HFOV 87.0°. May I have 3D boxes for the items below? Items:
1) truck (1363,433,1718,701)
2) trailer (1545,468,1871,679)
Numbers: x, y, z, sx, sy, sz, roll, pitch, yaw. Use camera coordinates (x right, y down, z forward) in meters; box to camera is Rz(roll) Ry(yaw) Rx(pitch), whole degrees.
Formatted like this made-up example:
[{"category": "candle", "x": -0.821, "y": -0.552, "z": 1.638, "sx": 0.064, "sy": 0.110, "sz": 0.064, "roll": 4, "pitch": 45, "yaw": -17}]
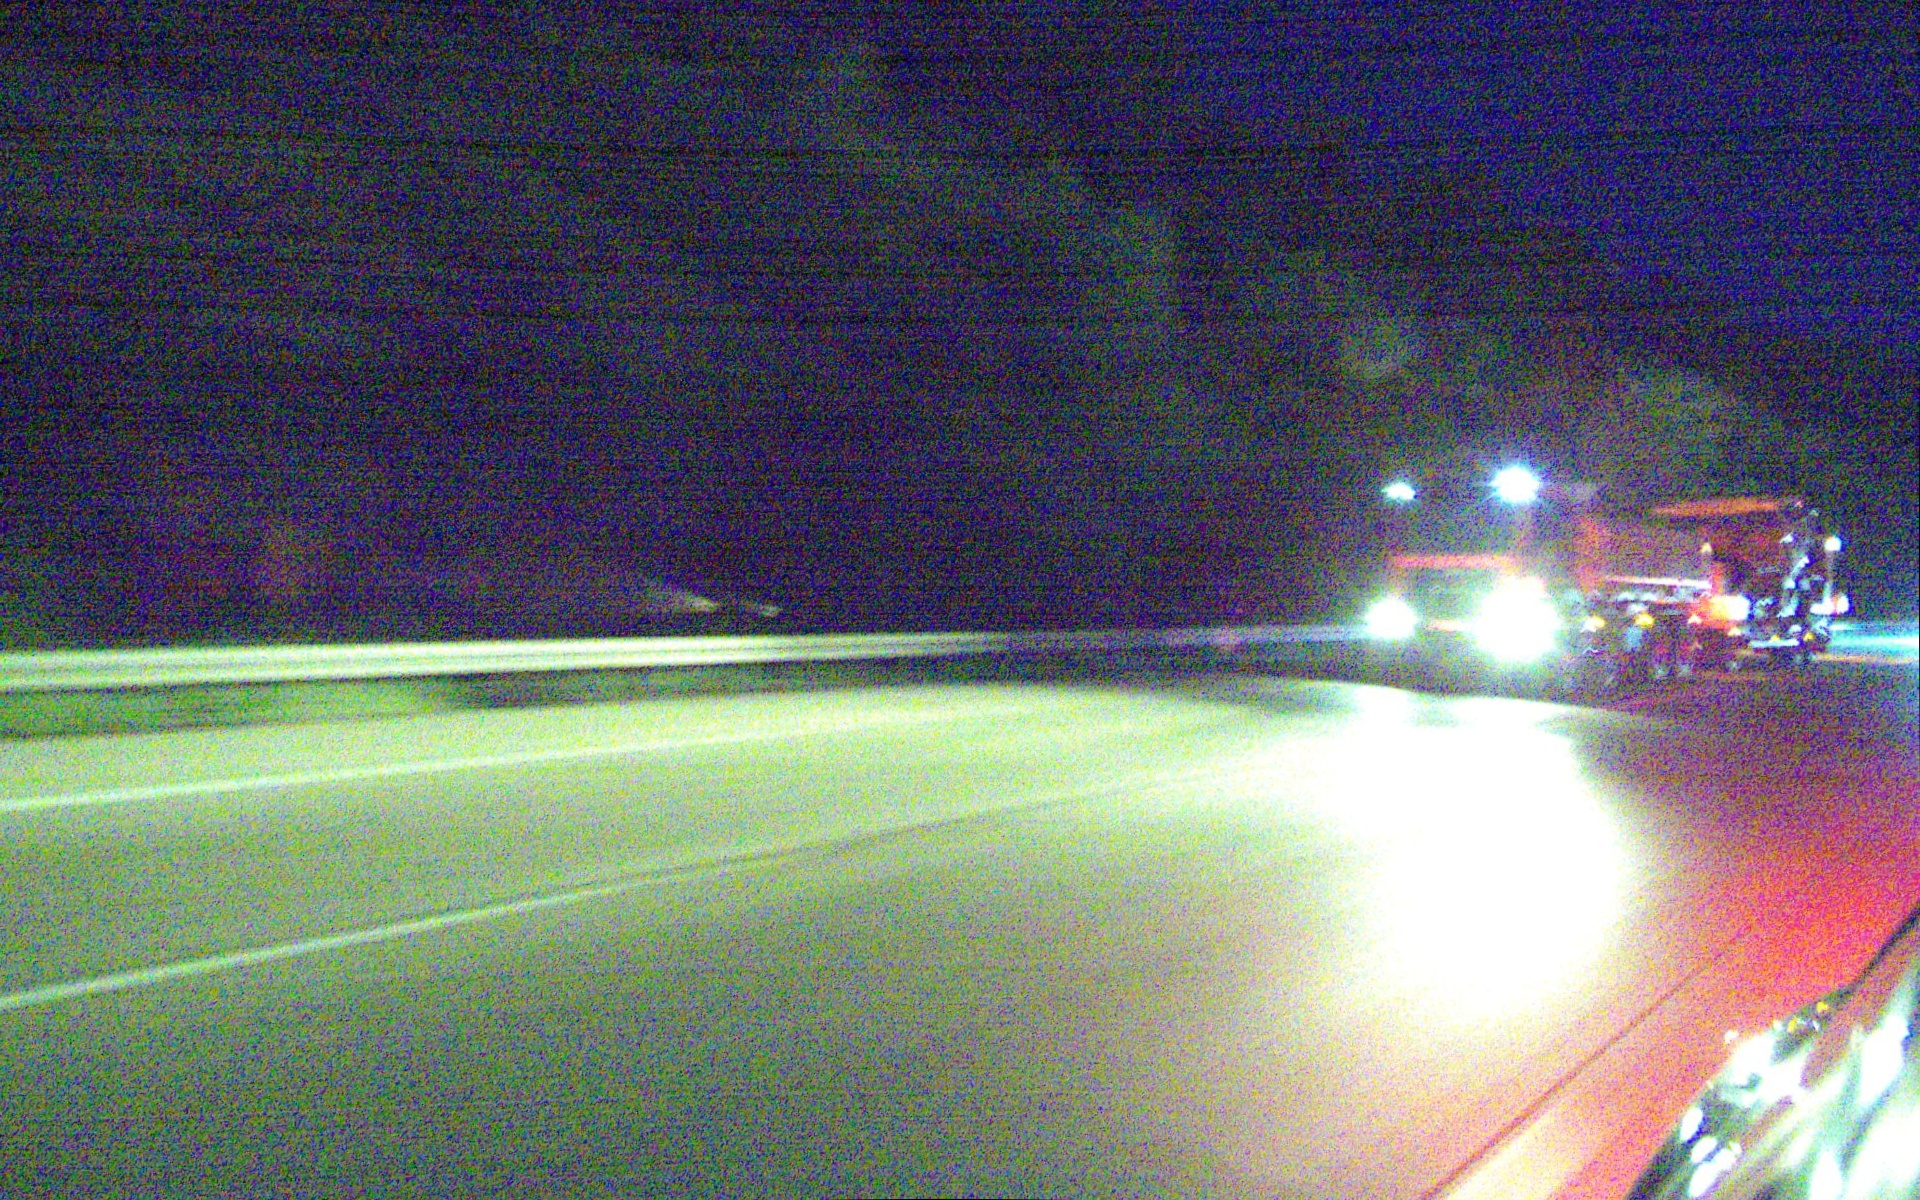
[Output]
[{"category": "truck", "x": 10.713, "y": -0.486, "z": 18.268, "sx": 7.907, "sy": 3.888, "sz": 2.874, "roll": 0, "pitch": 0, "yaw": -38}, {"category": "trailer", "x": 18.287, "y": -0.602, "z": 24.150, "sx": 12.650, "sy": 3.981, "sz": 2.882, "roll": -1, "pitch": 1, "yaw": -38}]
